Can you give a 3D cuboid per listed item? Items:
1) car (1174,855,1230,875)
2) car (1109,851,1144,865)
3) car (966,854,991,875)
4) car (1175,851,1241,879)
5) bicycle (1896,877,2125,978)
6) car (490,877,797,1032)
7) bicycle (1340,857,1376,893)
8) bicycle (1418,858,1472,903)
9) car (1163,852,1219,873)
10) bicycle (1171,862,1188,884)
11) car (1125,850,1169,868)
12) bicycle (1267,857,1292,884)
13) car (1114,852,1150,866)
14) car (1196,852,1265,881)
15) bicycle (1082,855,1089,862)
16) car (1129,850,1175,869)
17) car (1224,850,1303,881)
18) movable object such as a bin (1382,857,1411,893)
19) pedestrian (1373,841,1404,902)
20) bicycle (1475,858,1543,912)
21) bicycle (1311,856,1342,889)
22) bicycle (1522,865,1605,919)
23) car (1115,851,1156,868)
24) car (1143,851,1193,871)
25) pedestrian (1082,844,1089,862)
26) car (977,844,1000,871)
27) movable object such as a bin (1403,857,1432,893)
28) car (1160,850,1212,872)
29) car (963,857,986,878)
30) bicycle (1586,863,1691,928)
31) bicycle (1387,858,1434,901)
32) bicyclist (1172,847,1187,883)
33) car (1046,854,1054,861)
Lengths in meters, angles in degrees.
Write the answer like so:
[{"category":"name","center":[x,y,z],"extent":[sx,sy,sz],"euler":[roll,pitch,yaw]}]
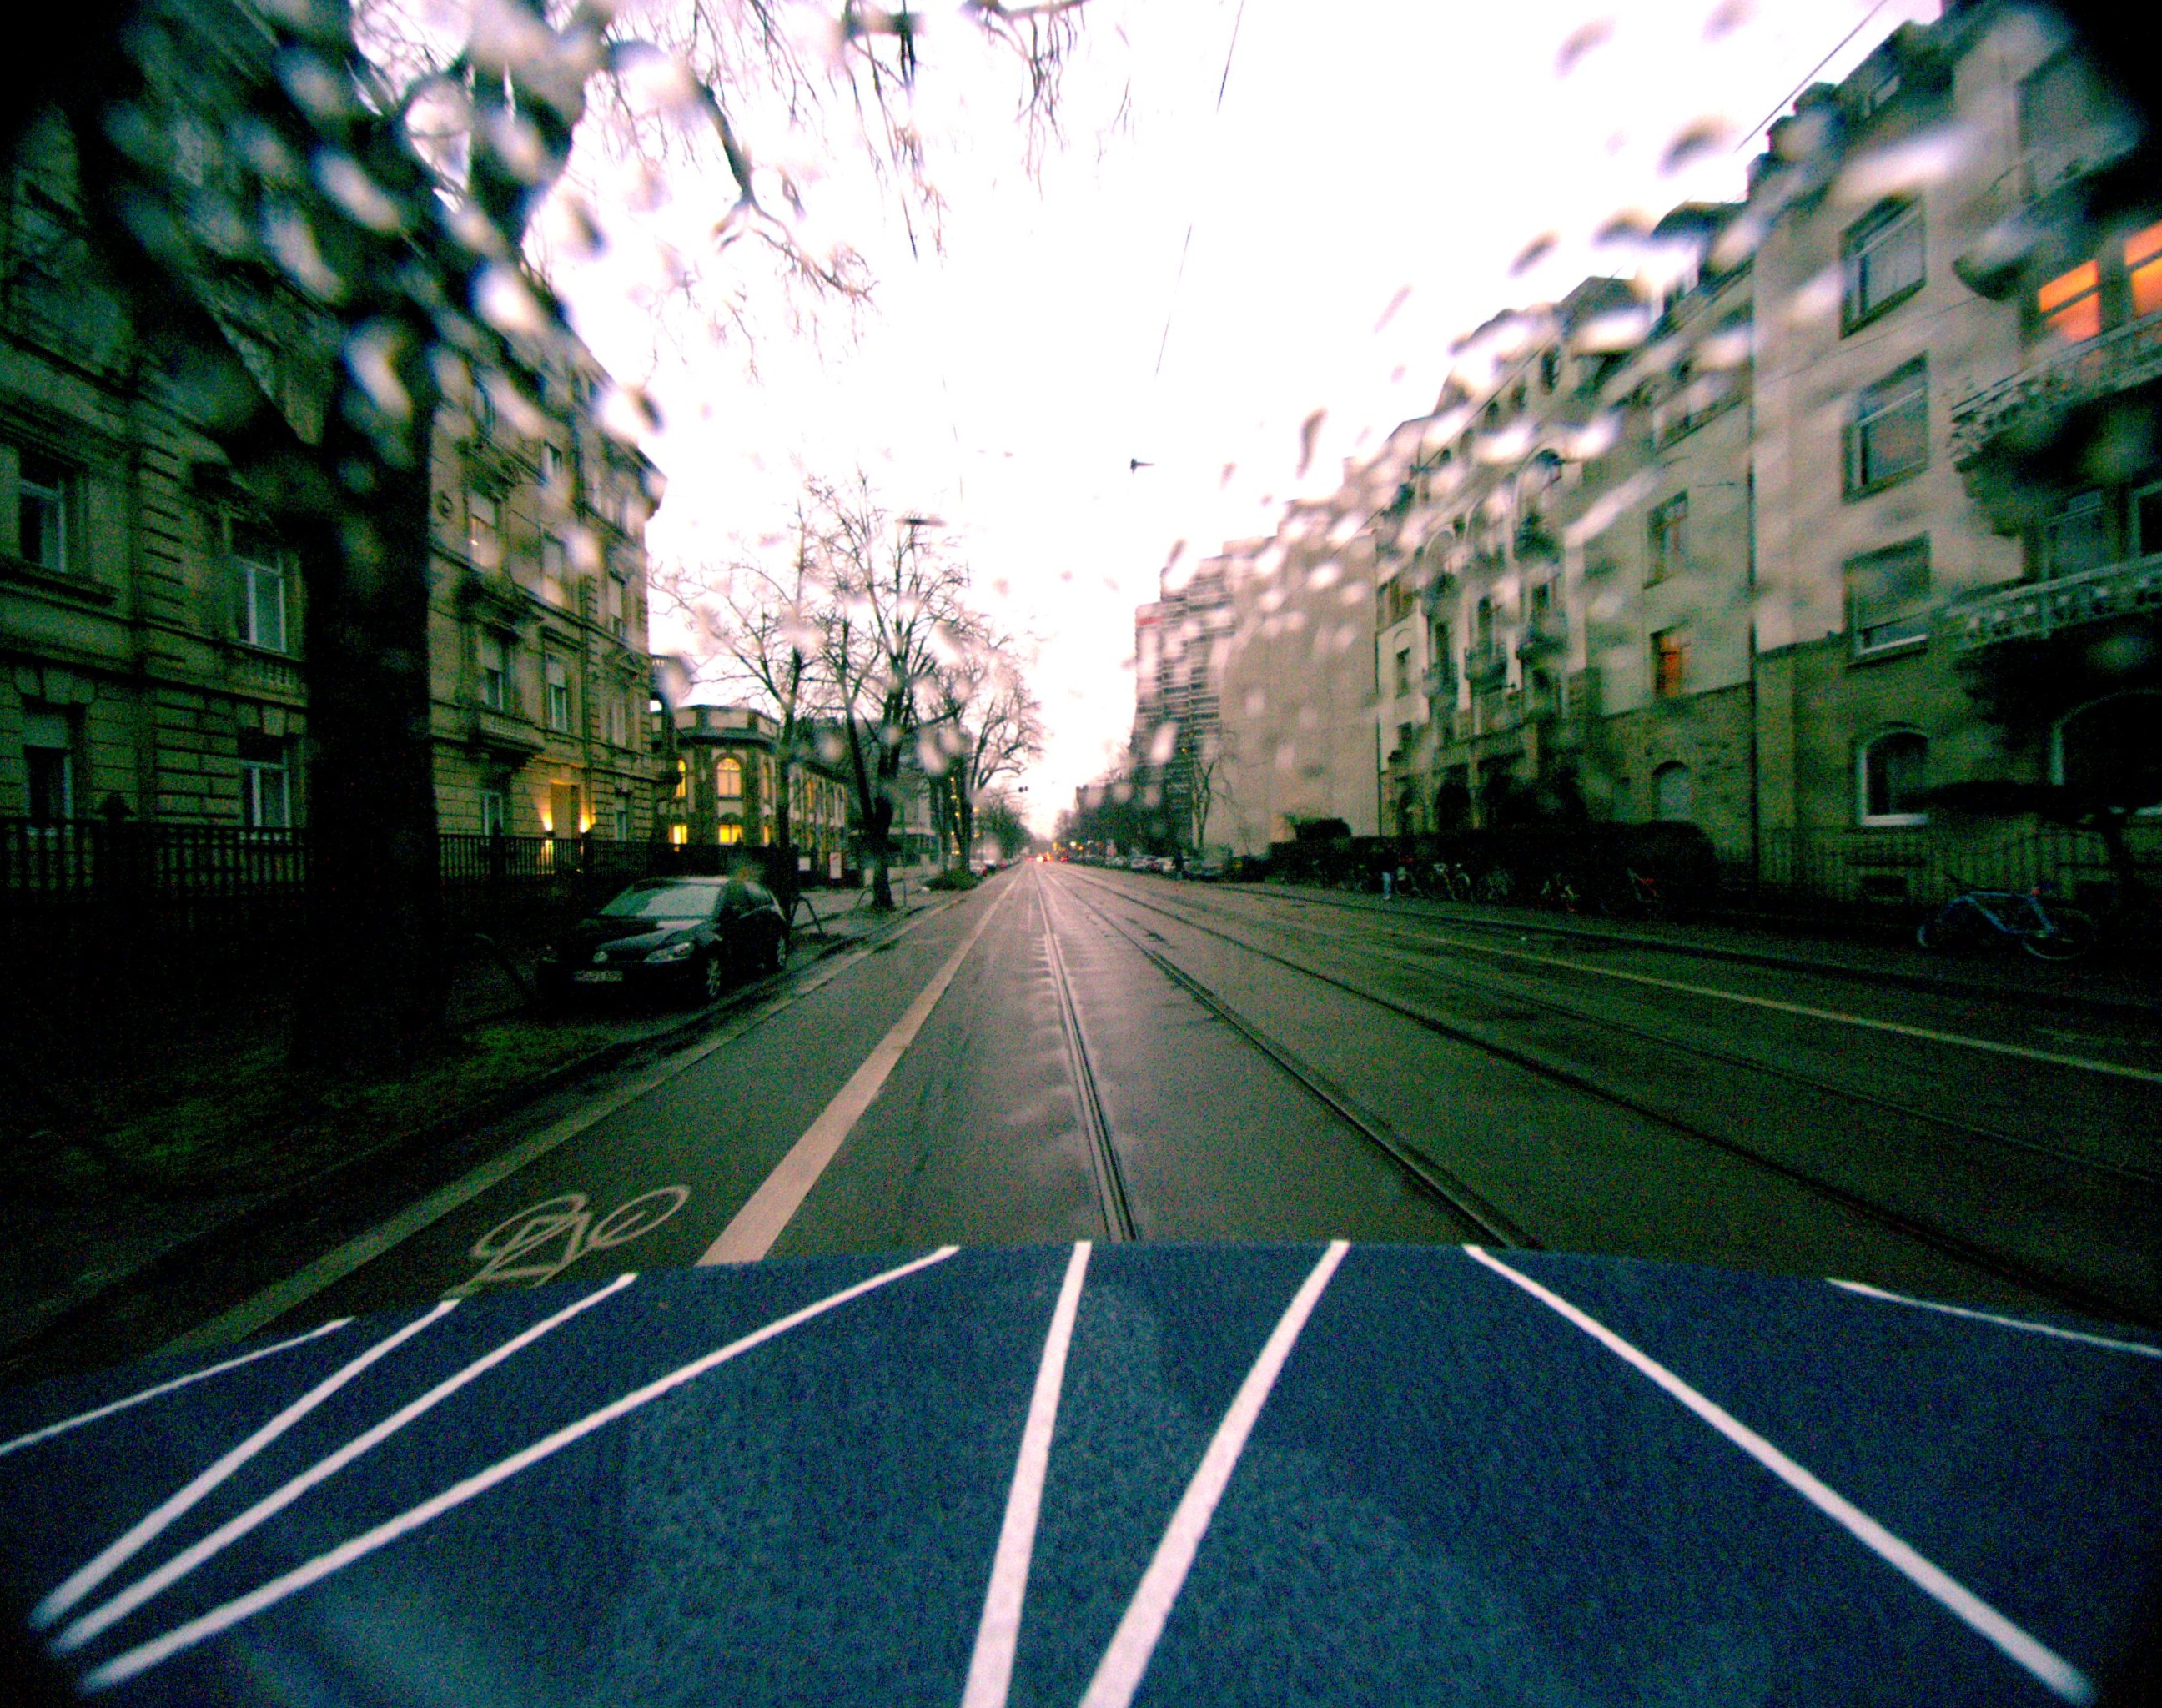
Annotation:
[{"category":"car","center":[7.953,0.714,49.858],"extent":[3.673,1.245,1.707],"euler":[-1,0,-41]},{"category":"car","center":[5.458,0.455,91.907],"extent":[4.007,1.586,1.864],"euler":[-2,0,-40]},{"category":"car","center":[-9.105,0.931,67.695],"extent":[2.000,1.672,3.997],"euler":[-2,1,-6]},{"category":"car","center":[7.830,0.646,46.686],"extent":[4.007,1.586,1.864],"euler":[-2,0,-40]},{"category":"bicycle","center":[10.725,0.803,8.865],"extent":[0.625,0.997,1.662],"euler":[-1,0,-1]},{"category":"car","center":[-5.136,1.069,9.678],"extent":[1.763,1.437,4.156],"euler":[1,0,-5]},{"category":"bicycle","center":[9.690,0.703,26.642],"extent":[0.625,1.205,1.662],"euler":[-1,0,-1]},{"category":"bicycle","center":[9.897,0.689,20.712],"extent":[0.625,1.157,1.662],"euler":[-1,0,-1]},{"category":"car","center":[8.260,0.613,56.905],"extent":[4.007,1.440,1.864],"euler":[-2,0,-40]},{"category":"bicycle","center":[5.210,0.996,40.234],"extent":[0.625,1.086,1.947],"euler":[-1,0,-1]},{"category":"car","center":[6.427,0.483,73.712],"extent":[4.007,1.586,1.864],"euler":[-2,0,-40]},{"category":"bicycle","center":[8.939,0.726,34.308],"extent":[0.625,1.157,1.662],"euler":[-2,0,-1]},{"category":"car","center":[6.047,0.604,89.825],"extent":[4.007,1.586,1.864],"euler":[-2,0,-40]},{"category":"car","center":[8.593,0.691,43.535],"extent":[4.007,1.477,1.760],"euler":[-2,0,-40]},{"category":"bicycle","center":[0.619,0.591,101.281],"extent":[0.858,0.986,1.918],"euler":[-2,1,1]},{"category":"car","center":[6.564,0.514,70.032],"extent":[4.007,1.586,1.864],"euler":[-2,0,-40]},{"category":"car","center":[9.925,0.605,41.276],"extent":[4.006,1.485,1.864],"euler":[-2,0,-32]},{"category":"movable object such as a bin","center":[10.458,0.691,25.181],"extent":[0.659,1.157,0.674],"euler":[-1,1,-1]},{"category":"pedestrian","center":[8.883,0.487,21.954],"extent":[0.574,1.716,0.644],"euler":[-3,2,0]},{"category":"bicycle","center":[10.100,0.710,17.983],"extent":[0.625,1.205,1.662],"euler":[-1,0,-1]},{"category":"bicycle","center":[9.383,0.686,29.068],"extent":[0.625,1.205,1.662],"euler":[-1,0,-1]},{"category":"bicycle","center":[10.254,0.773,16.215],"extent":[0.625,1.059,1.726],"euler":[-1,0,-1]},{"category":"car","center":[5.610,0.570,78.492],"extent":[4.007,1.586,1.864],"euler":[-2,0,-40]},{"category":"car","center":[7.281,0.589,63.639],"extent":[4.007,1.586,1.864],"euler":[-2,0,-40]},{"category":"pedestrian","center":[0.595,-0.131,101.263],"extent":[0.952,2.246,1.119],"euler":[-2,1,1]},{"category":"car","center":[-9.386,0.315,77.326],"extent":[2.094,2.622,5.445],"euler":[-2,1,-6]},{"category":"movable object such as a bin","center":[11.152,0.681,25.177],"extent":[0.625,1.157,0.674],"euler":[-1,1,-1]},{"category":"car","center":[8.355,0.561,60.512],"extent":[4.007,1.586,1.864],"euler":[-2,0,-40]},{"category":"car","center":[-8.041,0.990,57.574],"extent":[1.628,1.399,3.997],"euler":[-2,1,-6]},{"category":"bicycle","center":[10.388,0.737,14.248],"extent":[0.625,1.119,1.783],"euler":[-1,0,-1]},{"category":"bicycle","center":[9.798,0.728,22.656],"extent":[0.625,1.205,1.662],"euler":[-1,0,-1]},{"category":"bicyclist","center":[5.189,0.587,40.191],"extent":[0.625,1.865,0.991],"euler":[-1,1,-1]},{"category":"car","center":[-10.682,1.192,260.363],"extent":[2.239,2.002,4.458],"euler":[-2,1,-5]}]
